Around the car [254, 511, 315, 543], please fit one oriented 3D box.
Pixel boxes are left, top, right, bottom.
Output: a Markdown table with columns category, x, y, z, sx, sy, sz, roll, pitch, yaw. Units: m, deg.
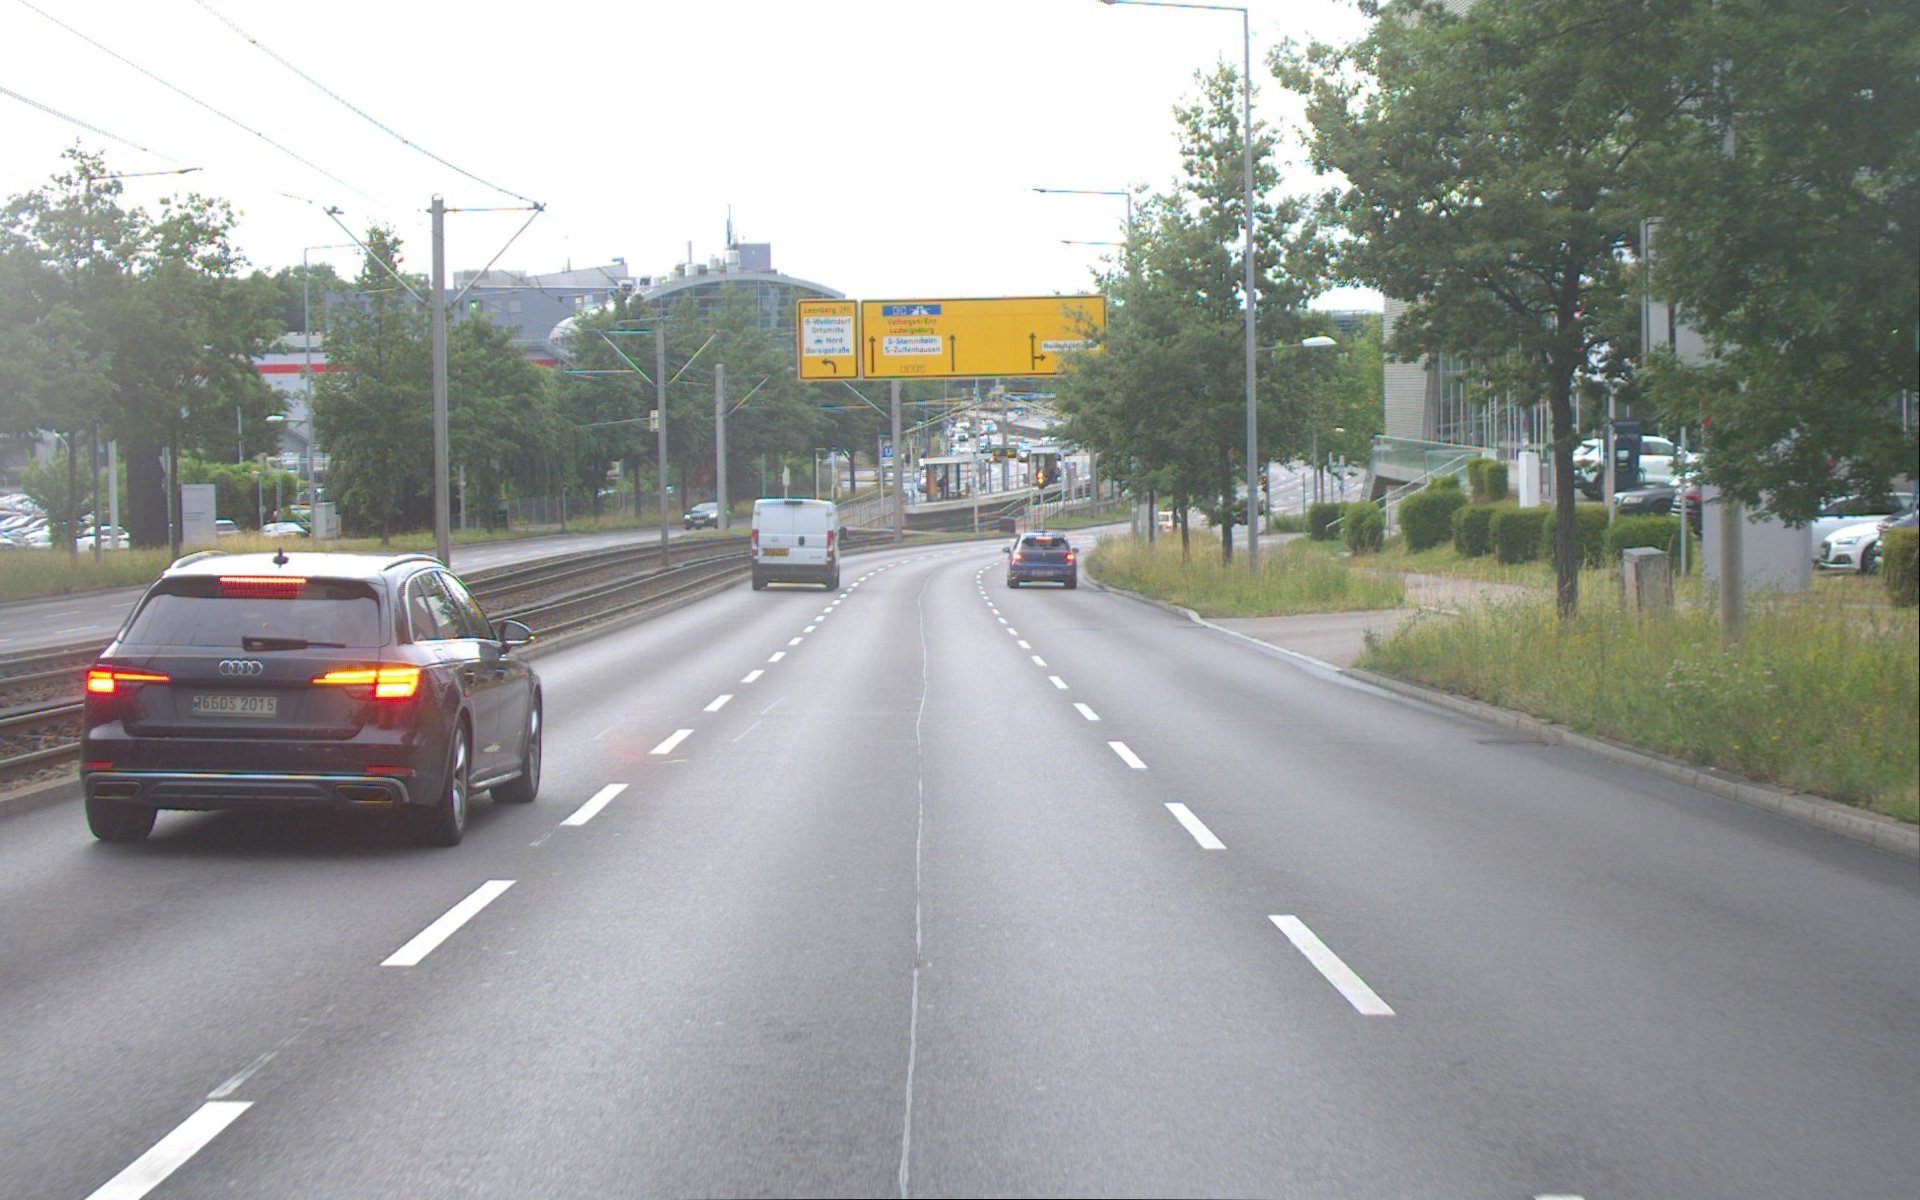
| category | x | y | z | sx | sy | sz | roll | pitch | yaw |
| --- | --- | --- | --- | --- | --- | --- | --- | --- | --- |
| car | -33.631 | -3.632 | 171.042 | 1.993 | 1.505 | 4.001 | 1 | 1 | -26 |

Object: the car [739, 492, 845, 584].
| category | x | y | z | sx | sy | sz | roll | pitch | yaw |
| --- | --- | --- | --- | --- | --- | --- | --- | --- | --- |
| car | -4.176 | -1.517 | 85.446 | 2.511 | 2.169 | 5.150 | 1 | 1 | -3 |

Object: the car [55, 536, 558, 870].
| category | x | y | z | sx | sy | sz | roll | pitch | yaw |
| --- | --- | --- | --- | --- | --- | --- | --- | --- | --- |
| car | -3.243 | 0.425 | 17.957 | 1.764 | 1.458 | 4.627 | 1 | 1 | -1 |

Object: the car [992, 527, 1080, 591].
| category | x | y | z | sx | sy | sz | roll | pitch | yaw |
| --- | --- | --- | --- | --- | --- | --- | --- | --- | --- |
| car | 1.985 | -1.078 | 91.049 | 2.021 | 1.617 | 4.001 | 1 | 1 | -3 |

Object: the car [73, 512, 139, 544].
| category | x | y | z | sx | sy | sz | roll | pitch | yaw |
| --- | --- | --- | --- | --- | --- | --- | --- | --- | --- |
| car | -41.672 | -3.503 | 167.704 | 1.993 | 1.505 | 4.000 | 1 | 1 | -32 |

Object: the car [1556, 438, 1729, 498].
| category | x | y | z | sx | sy | sz | roll | pitch | yaw |
| --- | --- | --- | --- | --- | --- | --- | --- | --- | --- |
| car | 18.243 | -3.529 | 92.016 | 4.259 | 1.568 | 1.693 | 0 | 2 | -1 |

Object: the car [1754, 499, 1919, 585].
| category | x | y | z | sx | sy | sz | roll | pitch | yaw |
| --- | --- | --- | --- | --- | --- | --- | --- | --- | --- |
| car | 17.703 | -1.116 | 65.945 | 4.519 | 1.588 | 1.693 | -1 | 1 | -1 |

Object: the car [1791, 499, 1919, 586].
| category | x | y | z | sx | sy | sz | roll | pitch | yaw |
| --- | --- | --- | --- | --- | --- | --- | --- | --- | --- |
| car | 17.731 | -1.057 | 63.934 | 4.105 | 1.588 | 1.693 | 0 | 1 | -1 |

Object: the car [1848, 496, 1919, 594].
| category | x | y | z | sx | sy | sz | roll | pitch | yaw |
| --- | --- | --- | --- | --- | --- | --- | --- | --- | --- |
| car | 17.068 | -0.901 | 56.981 | 4.104 | 1.588 | 1.949 | 0 | 0 | -9 |

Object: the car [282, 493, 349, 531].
| category | x | y | z | sx | sy | sz | roll | pitch | yaw |
| --- | --- | --- | --- | --- | --- | --- | --- | --- | --- |
| car | -29.211 | -3.992 | 156.006 | 1.994 | 1.645 | 3.999 | 1 | 1 | 4 |

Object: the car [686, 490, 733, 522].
| category | x | y | z | sx | sy | sz | roll | pitch | yaw |
| --- | --- | --- | --- | --- | --- | --- | --- | --- | --- |
| car | -13.100 | -4.911 | 179.932 | 1.883 | 1.515 | 4.403 | -3 | 2 | 2 |

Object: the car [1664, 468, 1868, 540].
| category | x | y | z | sx | sy | sz | roll | pitch | yaw |
| --- | --- | --- | --- | --- | --- | --- | --- | --- | --- |
| car | 17.900 | -2.143 | 76.484 | 4.105 | 1.568 | 1.693 | 0 | 2 | -1 |
